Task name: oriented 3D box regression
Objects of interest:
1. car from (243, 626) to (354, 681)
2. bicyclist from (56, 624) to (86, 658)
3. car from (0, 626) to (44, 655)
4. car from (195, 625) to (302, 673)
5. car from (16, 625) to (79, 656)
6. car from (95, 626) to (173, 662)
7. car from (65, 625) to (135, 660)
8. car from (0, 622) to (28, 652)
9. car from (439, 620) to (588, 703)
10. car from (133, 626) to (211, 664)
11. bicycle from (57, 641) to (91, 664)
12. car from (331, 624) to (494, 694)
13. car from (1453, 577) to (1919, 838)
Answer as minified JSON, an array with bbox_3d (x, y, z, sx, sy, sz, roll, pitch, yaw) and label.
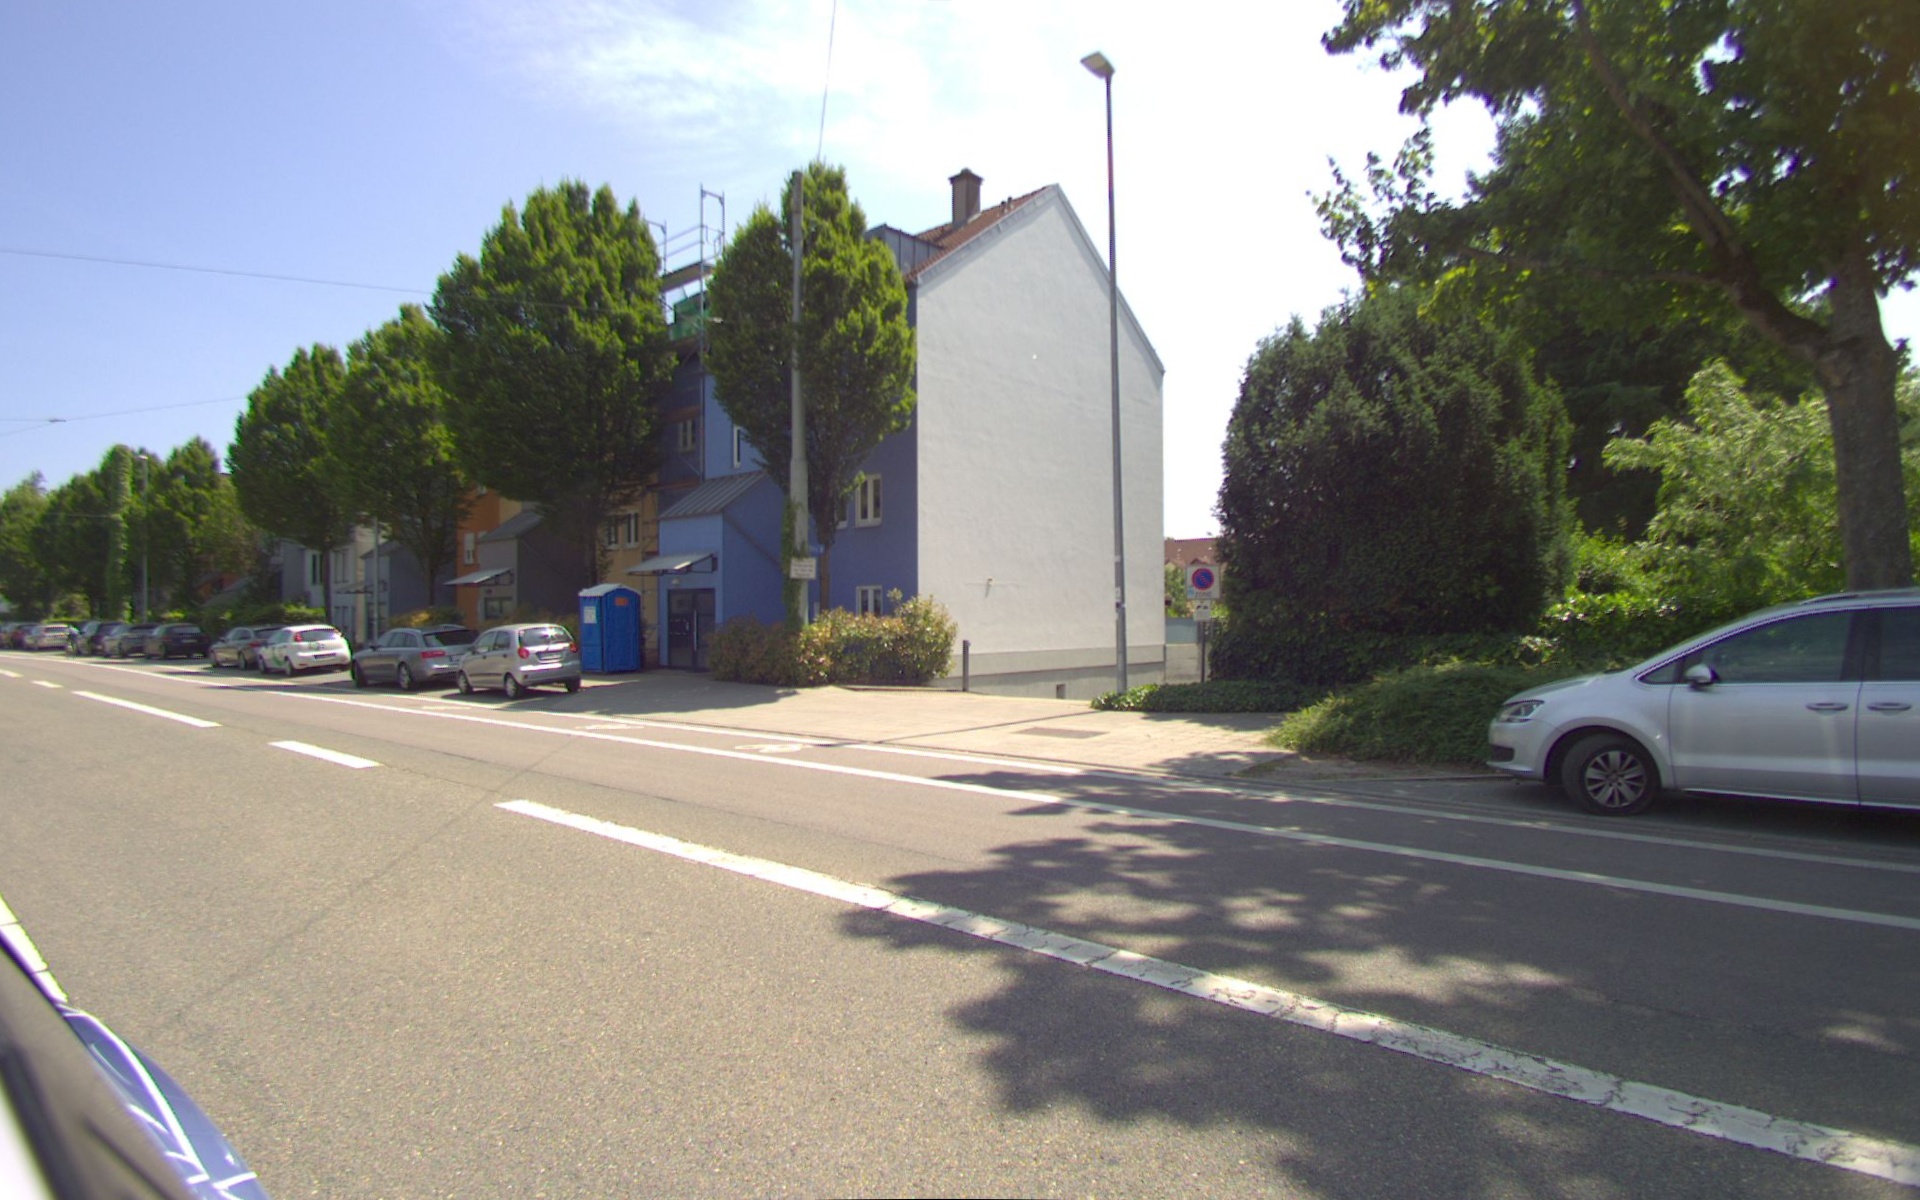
[{"bbox_3d":[-21.021,1.651,32.095,4.417,1.453,1.729,-2,3,41],"label":"car"},{"bbox_3d":[-38.888,1.809,44.264,1.123,1.442,0.728,-1,-5,38],"label":"bicyclist"},{"bbox_3d":[-56.018,2.401,60.078,3.673,1.606,1.586,-2,0,35],"label":"car"},{"bbox_3d":[-25.065,1.709,35.611,4.744,1.440,1.688,-2,3,38],"label":"car"},{"bbox_3d":[-51.162,2.264,56.709,4.490,1.594,1.823,-2,0,38],"label":"car"},{"bbox_3d":[-37.688,1.988,46.120,4.752,1.507,1.807,-2,0,39],"label":"car"},{"bbox_3d":[-42.268,2.071,49.710,4.142,1.601,1.750,-2,0,38],"label":"car"},{"bbox_3d":[-60.179,2.325,63.222,4.548,1.807,1.976,-1,-1,35],"label":"car"},{"bbox_3d":[-9.738,1.279,21.974,3.447,1.506,1.577,-2,3,41],"label":"car"},{"bbox_3d":[-33.466,1.883,42.930,4.254,1.443,1.732,-1,1,40],"label":"car"},{"bbox_3d":[-38.850,2.300,44.365,2.240,0.958,0.695,-2,-4,39],"label":"bicycle"},{"bbox_3d":[-13.803,1.447,25.369,5.129,1.461,1.769,-2,2,40],"label":"car"},{"bbox_3d":[6.478,0.698,7.458,4.778,1.677,1.853,-2,-1,41],"label":"car"}]
